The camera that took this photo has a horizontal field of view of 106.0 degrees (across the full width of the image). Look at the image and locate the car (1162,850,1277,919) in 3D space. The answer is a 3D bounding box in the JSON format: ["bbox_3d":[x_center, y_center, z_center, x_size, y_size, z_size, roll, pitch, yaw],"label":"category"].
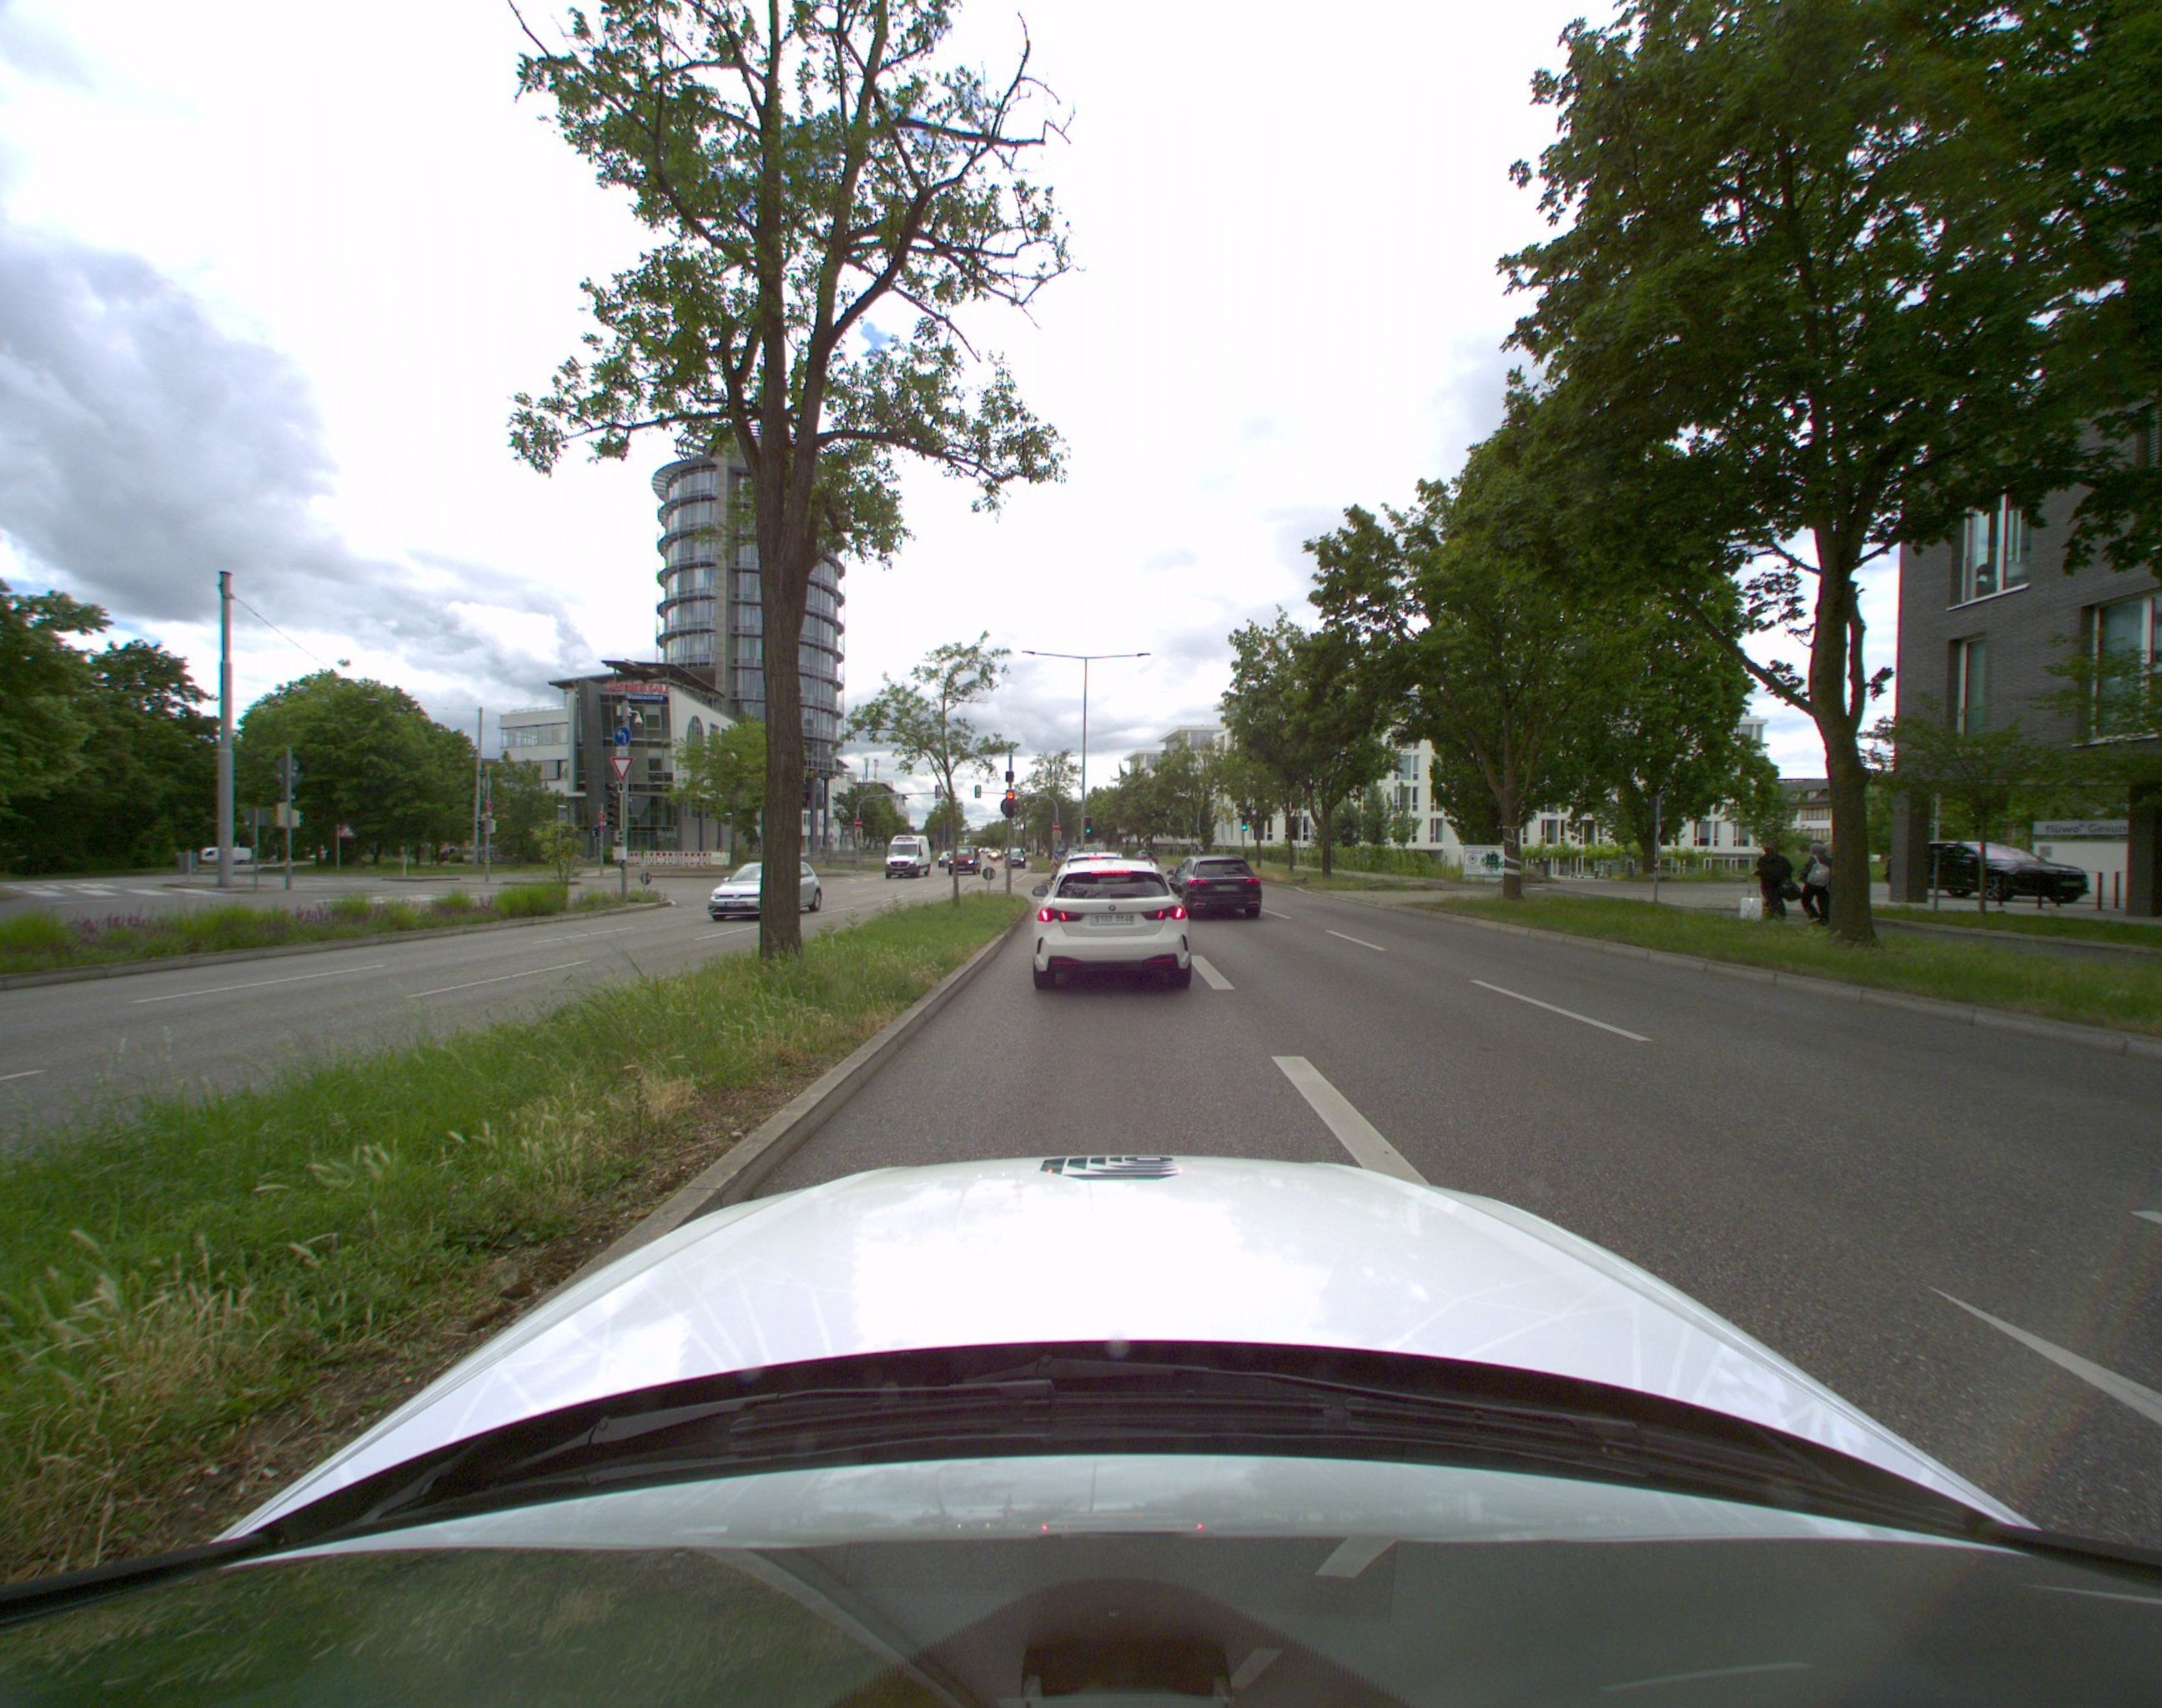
[{"bbox_3d":[3.284,0.671,20.332,2.046,1.486,4.972,-1,0,0],"label":"car"}]

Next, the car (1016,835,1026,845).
[{"bbox_3d":[-13.064,-3.095,176.905,1.988,2.010,4.322,2,0,-1],"label":"car"}]

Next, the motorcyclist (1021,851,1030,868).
[{"bbox_3d":[-5.732,0.561,84.063,0.845,1.837,1.260,0,0,1],"label":"motorcyclist"}]

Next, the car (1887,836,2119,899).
[{"bbox_3d":[24.963,0.328,22.311,1.817,1.552,4.183,0,0,4],"label":"car"}]

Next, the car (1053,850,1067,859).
[{"bbox_3d":[-3.752,0.130,145.054,1.992,1.508,3.990,0,0,-7],"label":"car"}]

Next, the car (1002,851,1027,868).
[{"bbox_3d":[-5.694,0.434,70.284,1.747,1.371,3.781,-1,0,2],"label":"car"}]

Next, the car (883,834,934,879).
[{"bbox_3d":[-10.822,0.118,51.423,1.988,2.634,5.872,2,0,-1],"label":"car"}]

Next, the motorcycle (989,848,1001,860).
[{"bbox_3d":[-10.613,0.007,100.807,0.886,1.398,4.001,0,0,2],"label":"motorcycle"}]

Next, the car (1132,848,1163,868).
[{"bbox_3d":[5.305,0.300,65.207,1.989,1.596,3.996,0,0,-3],"label":"car"}]

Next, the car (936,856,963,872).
[{"bbox_3d":[-12.300,0.956,76.345,1.701,1.419,3.804,-1,0,2],"label":"car"}]

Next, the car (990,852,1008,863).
[{"bbox_3d":[-11.088,0.476,110.185,1.986,1.354,4.001,0,0,1],"label":"car"}]

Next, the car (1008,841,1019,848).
[{"bbox_3d":[-16.098,-2.254,194.282,1.986,1.618,4.001,2,0,1],"label":"car"}]

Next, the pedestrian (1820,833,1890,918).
[{"bbox_3d":[14.724,0.401,15.507,0.586,1.552,0.745,3,0,7],"label":"pedestrian"}]

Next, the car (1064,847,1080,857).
[{"bbox_3d":[-1.376,-0.284,123.336,1.991,1.508,3.992,0,0,-6],"label":"car"}]

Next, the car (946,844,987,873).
[{"bbox_3d":[-7.749,0.304,55.618,1.928,1.918,4.975,0,0,2],"label":"car"}]

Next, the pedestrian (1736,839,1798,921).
[{"bbox_3d":[13.316,0.496,15.821,0.721,1.552,0.588,0,0,6],"label":"pedestrian"}]

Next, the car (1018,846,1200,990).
[{"bbox_3d":[0.427,0.660,10.313,1.855,1.449,4.004,0,0,4],"label":"car"}]

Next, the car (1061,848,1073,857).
[{"bbox_3d":[-2.558,-0.304,148.465,1.988,1.490,3.998,1,0,-1],"label":"car"}]

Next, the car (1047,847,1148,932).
[{"bbox_3d":[0.411,0.714,18.134,1.986,1.672,4.002,0,0,2],"label":"car"}]

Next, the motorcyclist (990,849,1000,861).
[{"bbox_3d":[-10.619,0.115,100.487,0.906,1.392,1.674,0,0,2],"label":"motorcyclist"}]

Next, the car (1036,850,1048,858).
[{"bbox_3d":[-7.195,0.024,151.380,1.988,1.490,3.998,1,0,-1],"label":"car"}]

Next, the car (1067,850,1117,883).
[{"bbox_3d":[0.592,0.587,39.630,1.983,1.508,4.008,0,0,7],"label":"car"}]

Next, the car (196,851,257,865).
[{"bbox_3d":[-128.056,0.573,122.080,1.977,2.013,6.012,0,0,19],"label":"car"}]

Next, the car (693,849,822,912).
[{"bbox_3d":[-8.346,0.614,21.431,1.748,1.444,4.133,-2,0,-1],"label":"car"}]

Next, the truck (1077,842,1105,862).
[{"bbox_3d":[1.239,-0.257,105.310,2.856,2.519,6.272,0,0,-7],"label":"truck"}]

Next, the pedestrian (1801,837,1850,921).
[{"bbox_3d":[14.140,0.473,15.477,0.407,1.552,0.563,2,-1,7],"label":"pedestrian"}]
